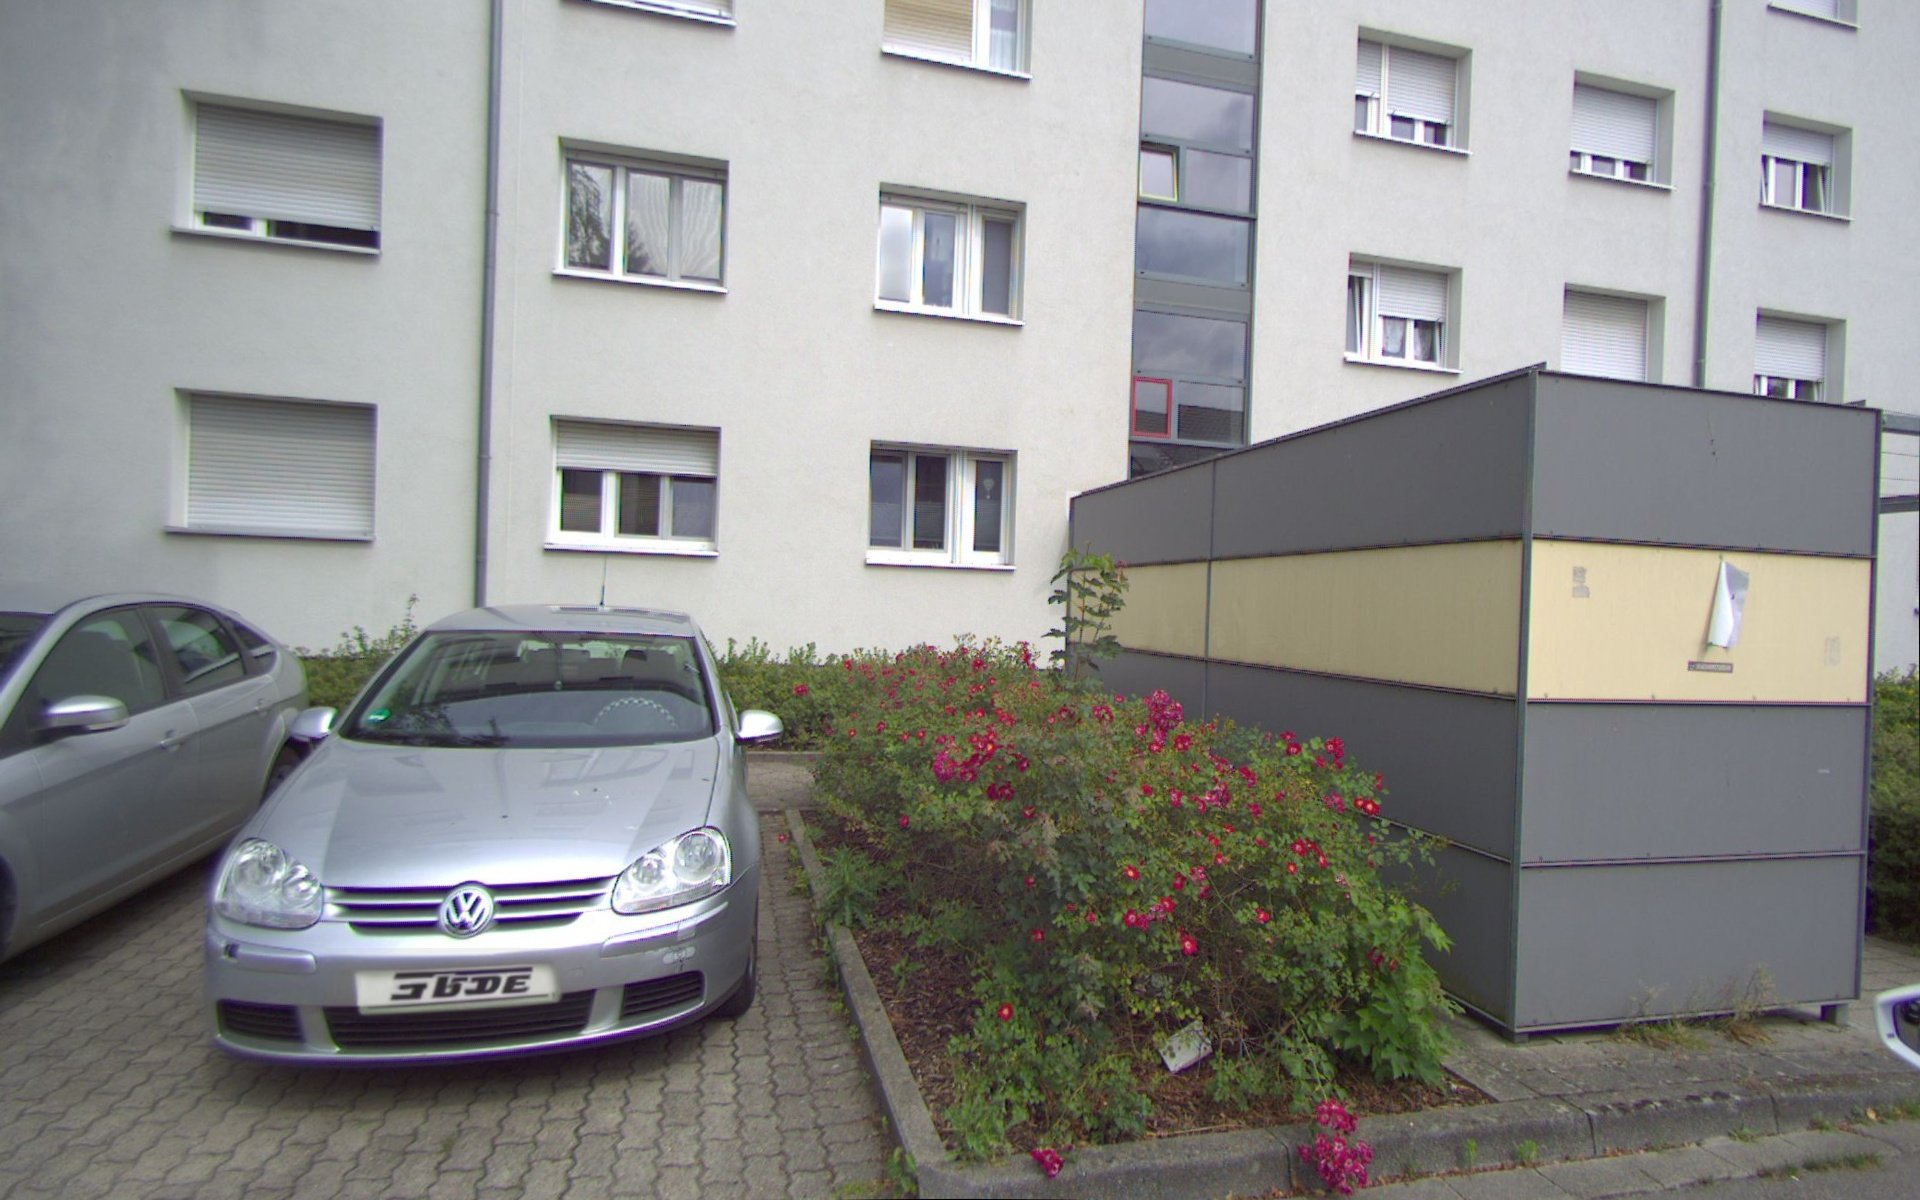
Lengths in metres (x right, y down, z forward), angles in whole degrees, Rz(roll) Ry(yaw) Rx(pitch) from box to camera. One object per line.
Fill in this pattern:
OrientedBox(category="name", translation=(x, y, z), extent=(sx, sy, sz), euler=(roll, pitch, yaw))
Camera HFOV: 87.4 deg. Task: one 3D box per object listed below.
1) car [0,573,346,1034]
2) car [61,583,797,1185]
OrientedBox(category="car", translation=(-4.255, 0.656, 4.138), extent=(1.752, 1.525, 4.053), euler=(2, -1, -14))
OrientedBox(category="car", translation=(-1.832, 0.752, 4.674), extent=(1.752, 1.483, 4.053), euler=(2, -1, -14))
